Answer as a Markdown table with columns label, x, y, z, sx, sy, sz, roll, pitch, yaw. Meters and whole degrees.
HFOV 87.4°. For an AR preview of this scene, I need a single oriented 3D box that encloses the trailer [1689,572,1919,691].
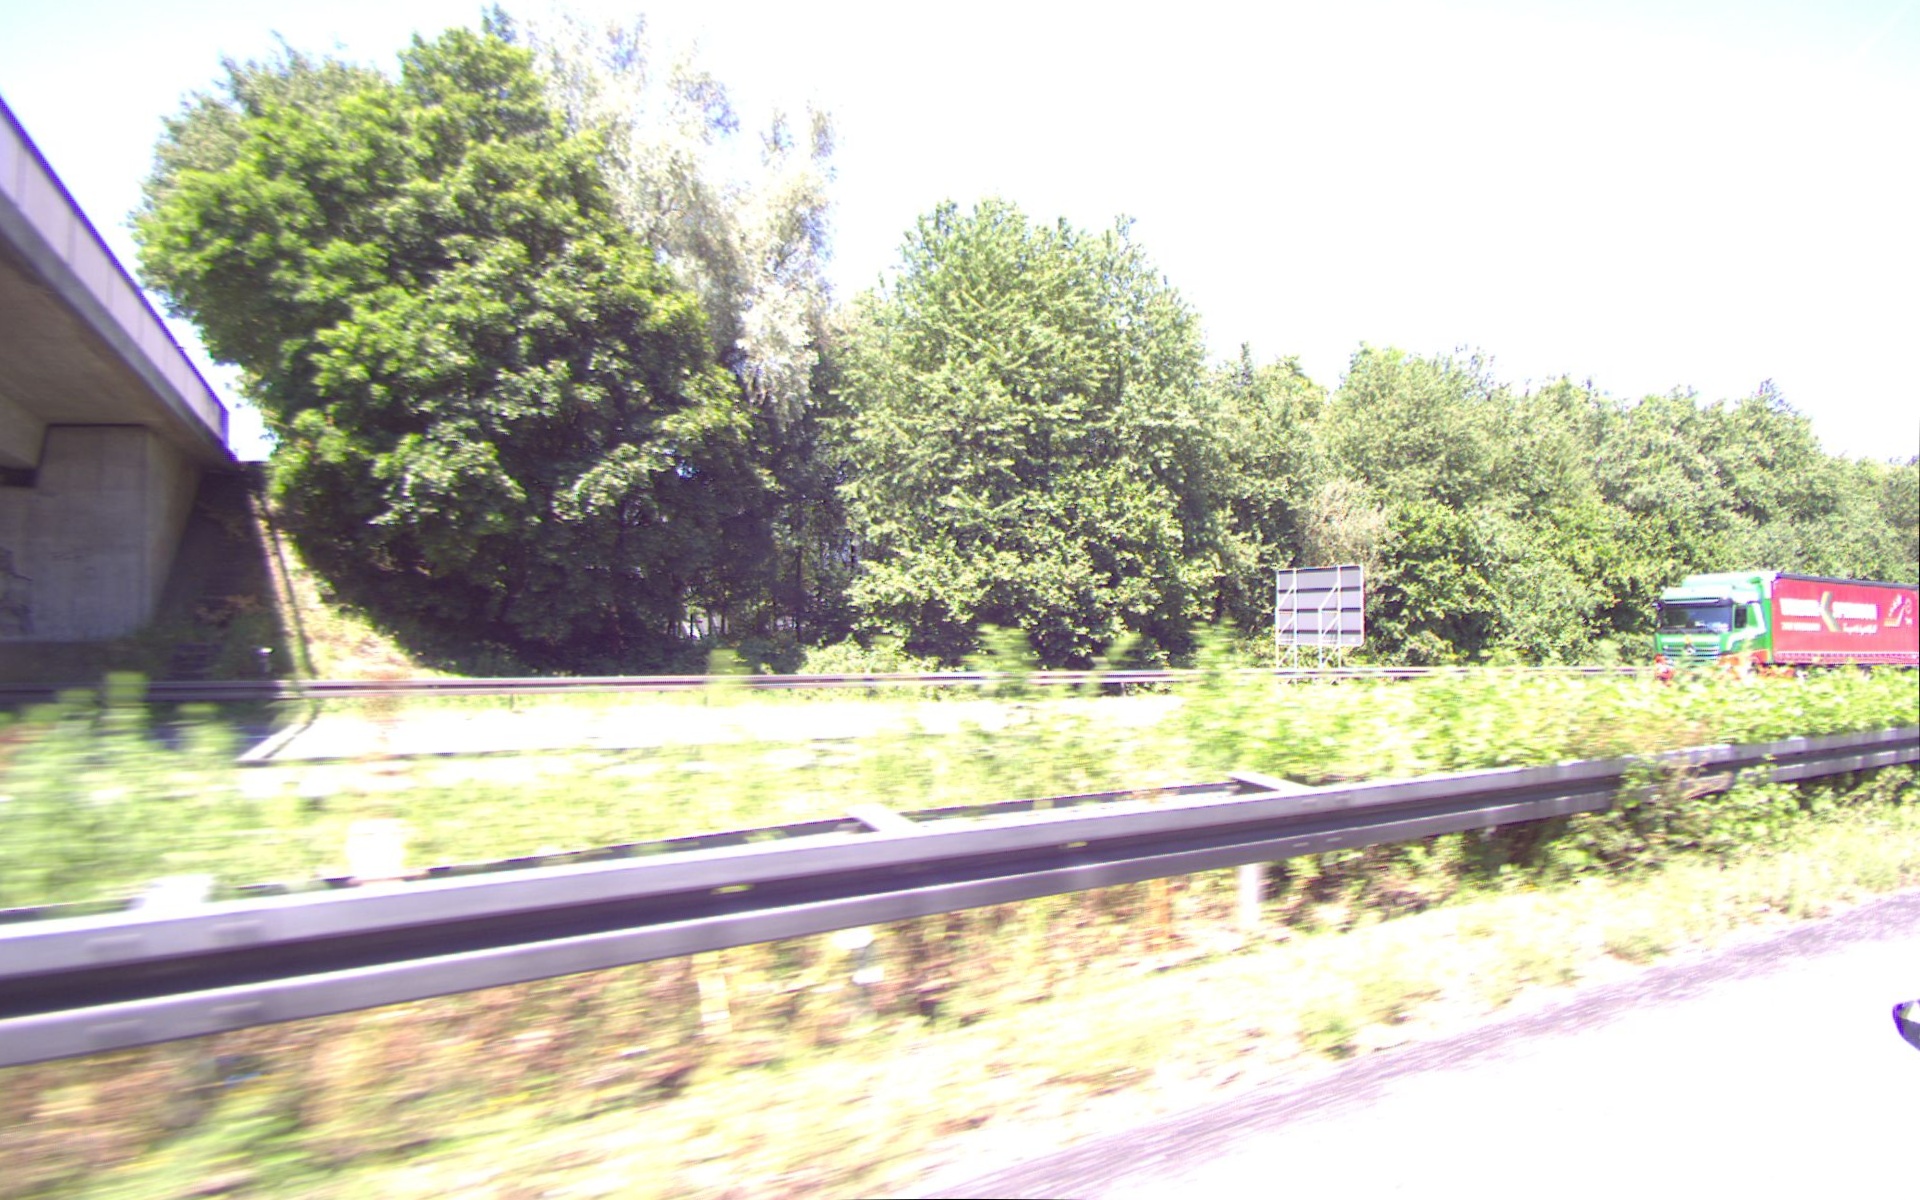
| label | x | y | z | sx | sy | sz | roll | pitch | yaw |
| --- | --- | --- | --- | --- | --- | --- | --- | --- | --- |
| trailer | 33.559 | 1.288 | 39.517 | 12.594 | 4.112 | 3.201 | 2 | -2 | -31 |

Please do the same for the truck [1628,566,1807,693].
| label | x | y | z | sx | sy | sz | roll | pitch | yaw |
| --- | --- | --- | --- | --- | --- | --- | --- | --- | --- |
| truck | 26.710 | 1.068 | 35.422 | 5.553 | 4.112 | 3.202 | 2 | -2 | -31 |
